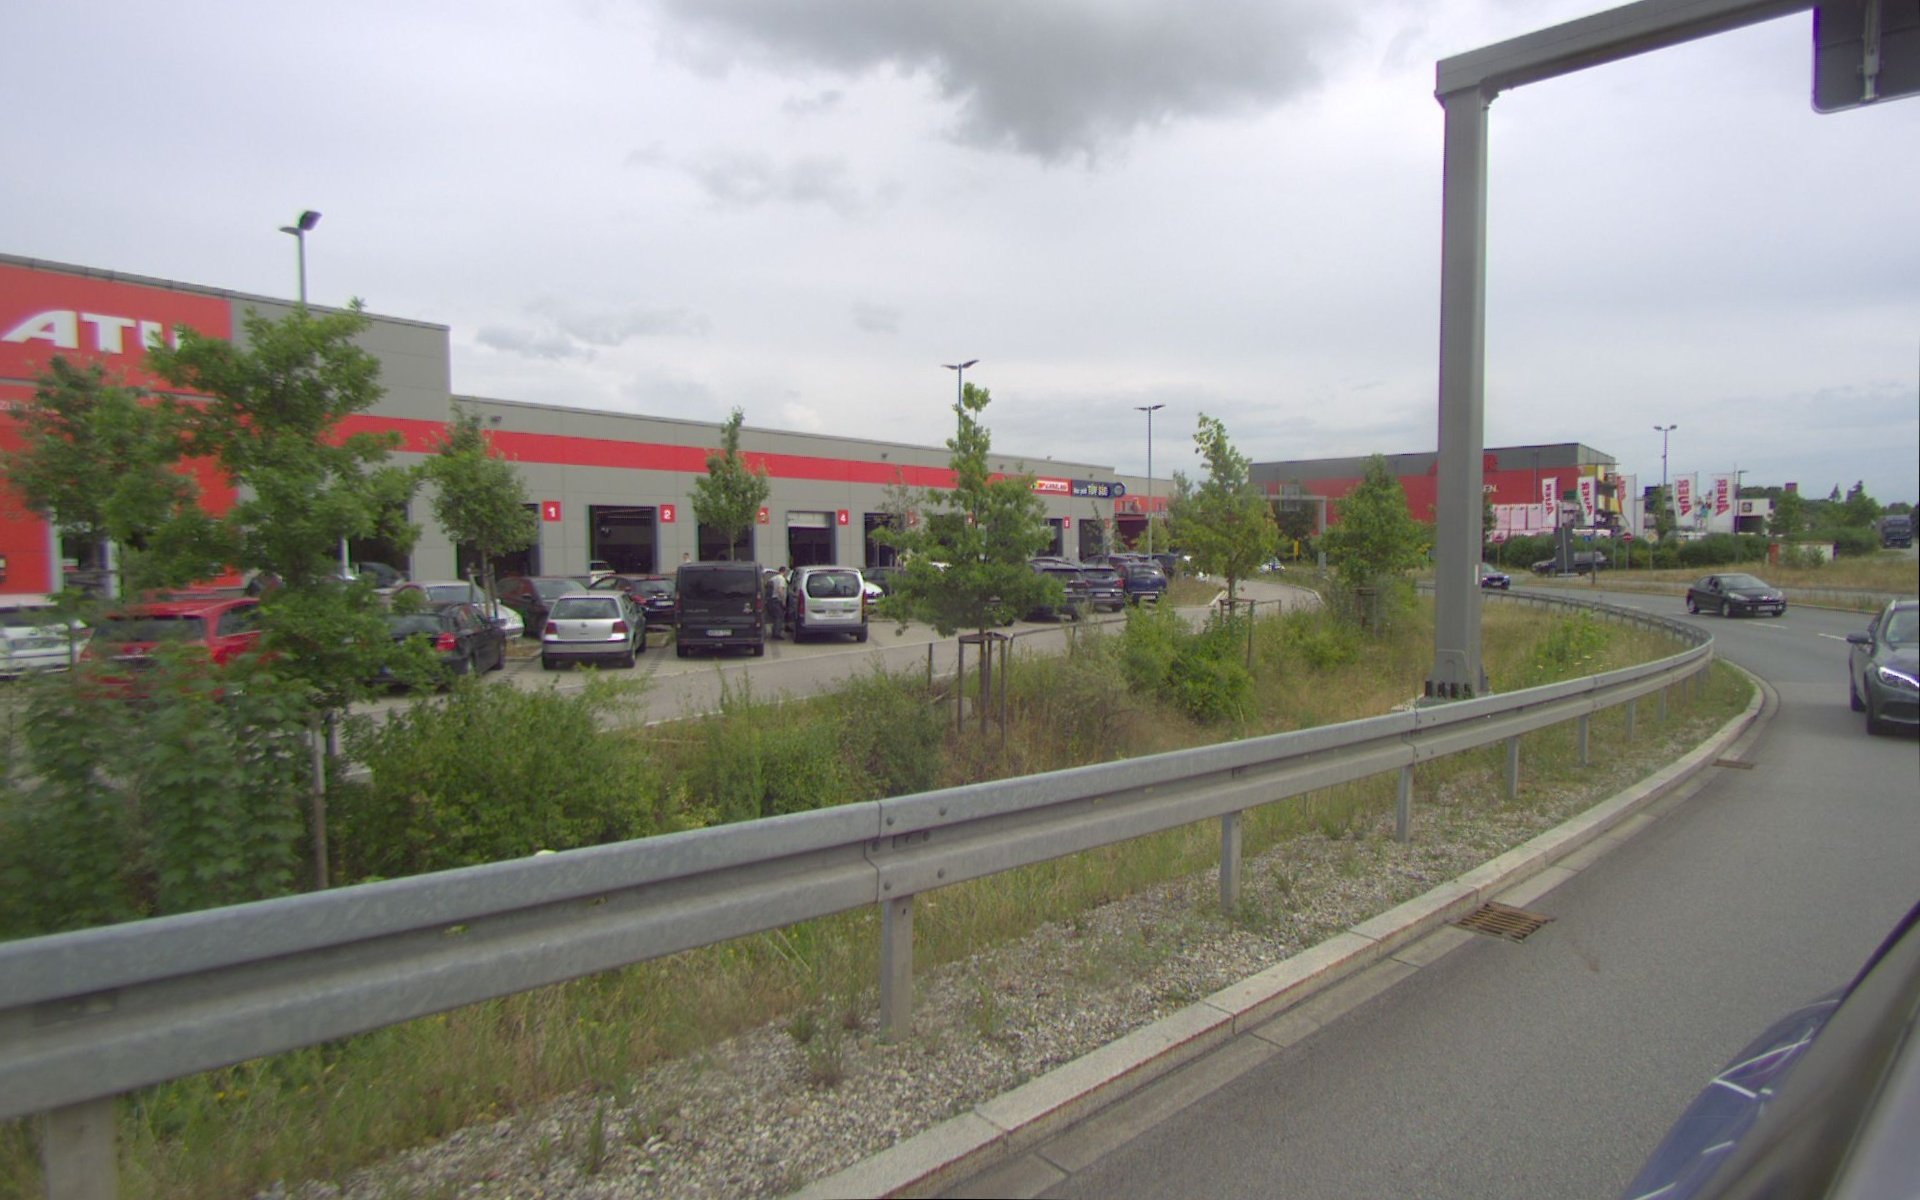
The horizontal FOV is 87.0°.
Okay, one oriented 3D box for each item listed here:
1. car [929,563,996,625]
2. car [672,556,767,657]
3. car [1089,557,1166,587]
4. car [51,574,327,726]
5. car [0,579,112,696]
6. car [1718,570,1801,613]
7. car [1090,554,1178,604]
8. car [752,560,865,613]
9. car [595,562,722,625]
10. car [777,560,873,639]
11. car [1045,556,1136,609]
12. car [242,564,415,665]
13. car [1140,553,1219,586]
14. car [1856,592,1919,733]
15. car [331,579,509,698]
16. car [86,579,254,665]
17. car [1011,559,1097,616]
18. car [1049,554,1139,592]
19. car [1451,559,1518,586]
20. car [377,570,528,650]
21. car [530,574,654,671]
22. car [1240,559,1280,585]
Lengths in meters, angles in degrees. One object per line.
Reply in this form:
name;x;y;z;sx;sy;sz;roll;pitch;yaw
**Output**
car;0.011;-0.196;29.368;1.618;1.642;4.081;1;1;-4
car;-5.258;0.042;22.516;1.866;1.931;4.087;0;4;-11
car;7.885;-1.310;47.691;3.303;1.340;1.462;0;2;37
car;-11.253;0.588;15.172;1.734;1.597;4.090;-2;6;-14
car;-16.667;0.562;17.617;4.649;1.661;1.891;3;4;37
car;28.310;-0.321;35.936;1.751;1.334;3.918;-1;2;30
car;6.344;-0.830;37.421;1.700;1.641;4.088;1;4;-13
car;-5.058;-0.443;33.625;3.677;1.658;1.570;0;2;37
car;-8.654;-0.207;28.939;3.677;1.658;1.570;0;2;37
car;-3.473;-0.104;25.431;1.866;1.732;4.088;-1;3;-15
car;4.474;-0.655;35.281;1.791;1.641;4.088;1;4;-13
car;-12.983;0.269;20.721;4.176;1.859;1.570;-1;1;37
car;11.325;-1.555;52.286;3.677;1.564;1.570;-1;1;37
car;11.521;0.615;11.530;1.757;1.438;4.033;-2;-1;39
car;-9.128;0.535;17.473;1.734;1.598;4.088;0;4;-14
car;-15.868;0.412;20.263;4.176;1.518;1.570;-1;2;37
car;2.842;-0.383;31.534;1.701;1.642;4.084;1;1;-9
car;6.006;-1.201;45.473;3.677;1.564;1.570;-1;1;37
car;30.476;-1.625;58.982;1.828;1.429;4.553;-1;2;5
car;-11.574;0.203;23.016;3.677;1.658;1.570;-1;1;37
car;-7.367;0.354;20.626;1.734;1.598;4.087;0;4;-11
car;18.968;-1.751;64.115;1.561;1.564;3.698;-2;1;2
